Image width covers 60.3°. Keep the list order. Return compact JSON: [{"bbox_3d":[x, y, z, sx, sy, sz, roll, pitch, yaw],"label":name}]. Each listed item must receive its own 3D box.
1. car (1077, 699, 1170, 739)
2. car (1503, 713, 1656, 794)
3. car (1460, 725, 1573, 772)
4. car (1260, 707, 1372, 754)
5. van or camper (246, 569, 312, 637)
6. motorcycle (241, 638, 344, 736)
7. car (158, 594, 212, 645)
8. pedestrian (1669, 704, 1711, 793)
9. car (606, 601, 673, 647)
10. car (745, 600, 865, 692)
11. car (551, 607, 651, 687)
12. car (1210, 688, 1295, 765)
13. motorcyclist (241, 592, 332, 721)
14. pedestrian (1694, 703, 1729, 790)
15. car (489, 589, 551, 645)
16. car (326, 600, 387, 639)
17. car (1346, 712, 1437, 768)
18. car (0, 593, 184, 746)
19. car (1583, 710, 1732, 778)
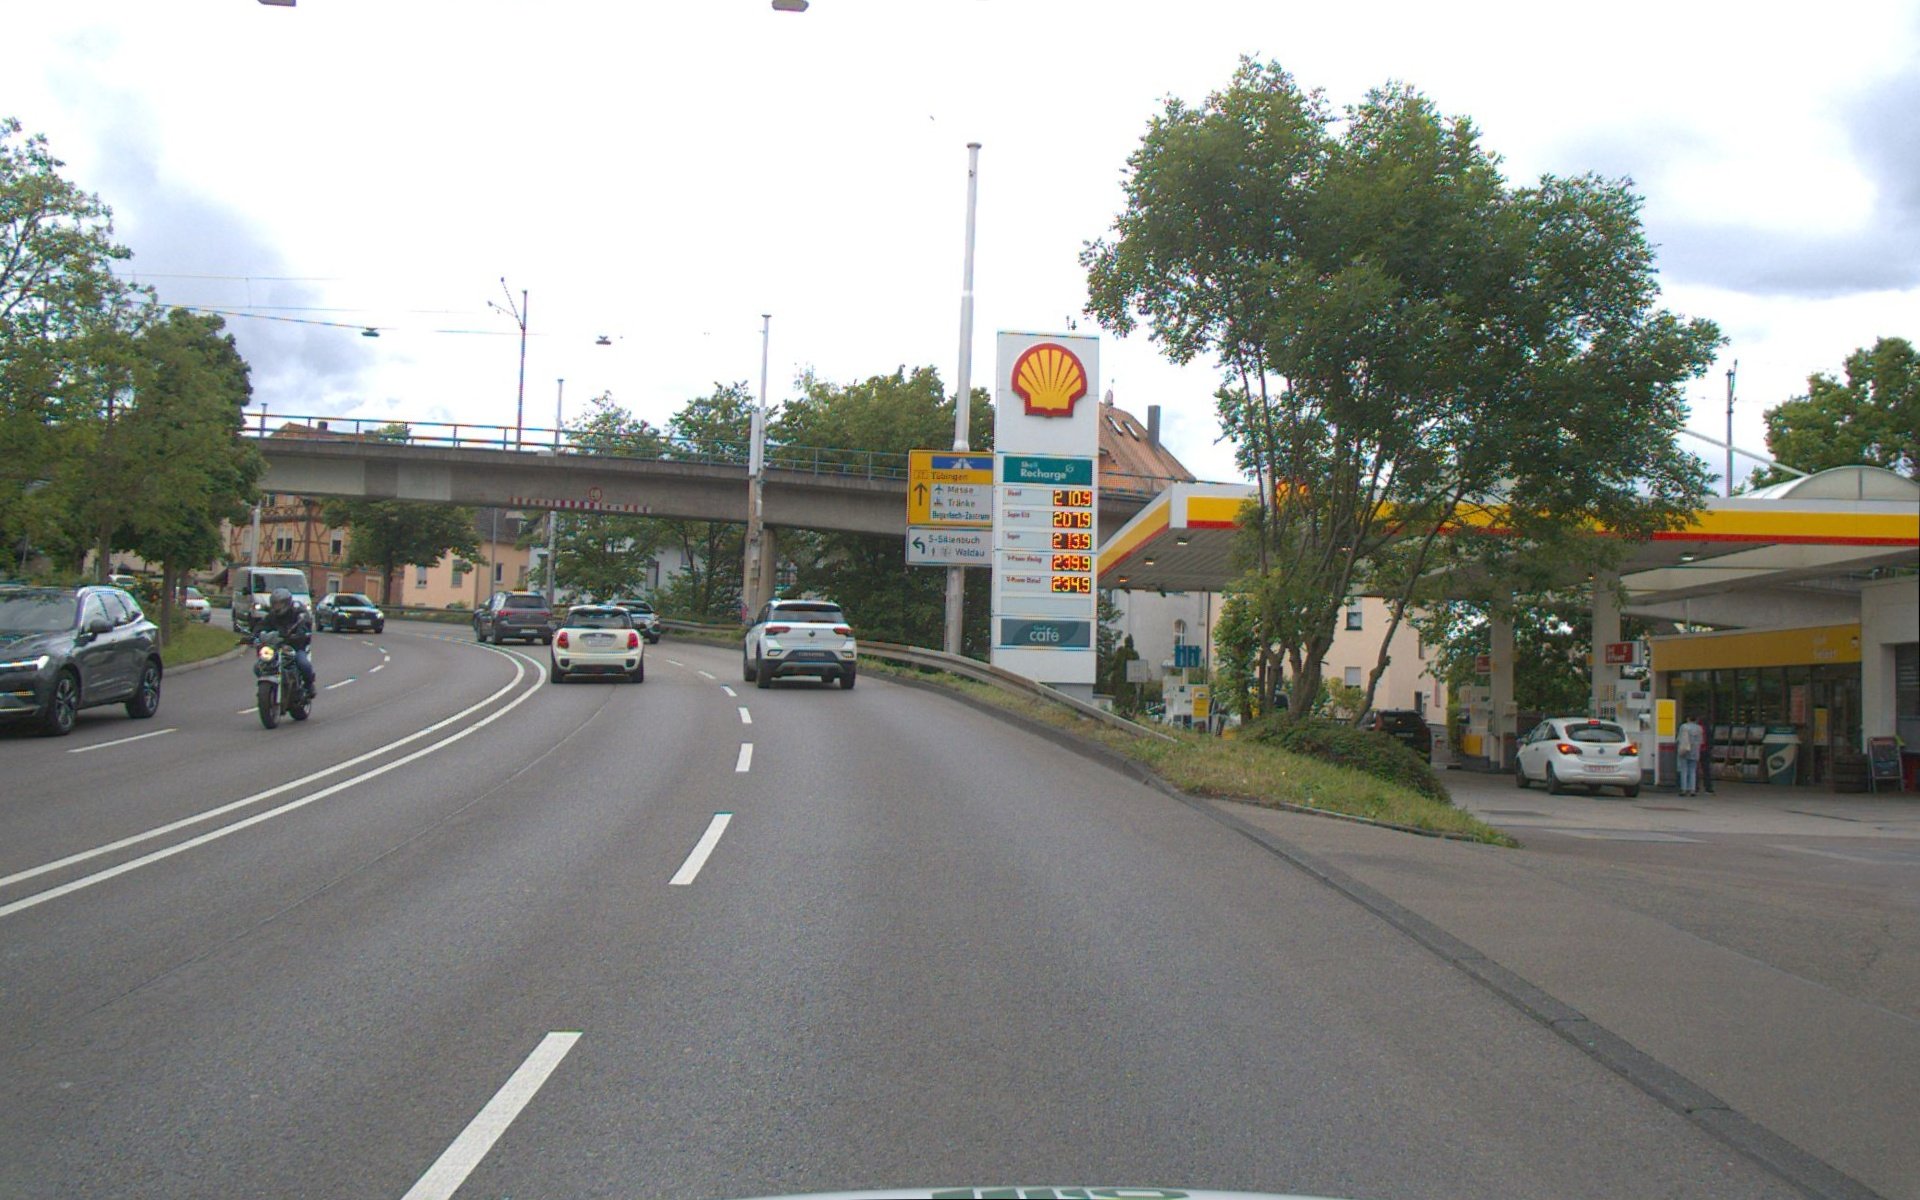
[{"bbox_3d":[7.267,5.290,73.421,3.689,1.419,1.647,3,-3,31],"label":"car"},{"bbox_3d":[12.409,3.052,33.376,1.699,1.512,3.877,1,-4,2],"label":"car"},{"bbox_3d":[18.704,4.979,55.677,3.540,1.484,1.658,-1,-4,18],"label":"car"},{"bbox_3d":[14.850,5.436,69.062,4.208,1.548,1.622,3,-3,28],"label":"car"},{"bbox_3d":[-24.392,0.099,59.152,1.982,2.301,5.916,1,0,-24],"label":"van or camper"},{"bbox_3d":[-8.114,1.028,20.187,0.474,1.075,2.266,-1,-1,-4],"label":"motorcycle"},{"bbox_3d":[-33.101,0.819,70.591,1.807,1.937,3.901,4,-1,-28],"label":"car"},{"bbox_3d":[14.627,2.973,33.152,0.532,1.734,0.609,2,-1,-6],"label":"pedestrian"},{"bbox_3d":[-10.812,0.797,55.685,1.651,1.433,3.435,2,-1,-21],"label":"car"},{"bbox_3d":[-2.911,0.806,30.422,1.765,1.545,3.446,2,-1,-12],"label":"car"},{"bbox_3d":[-6.776,0.859,31.489,1.691,1.400,3.448,2,-1,-10],"label":"car"},{"bbox_3d":[8.213,3.578,46.799,1.699,2.046,4.713,1,-4,2],"label":"car"},{"bbox_3d":[-8.179,0.675,20.119,0.745,1.511,0.959,-1,-1,-6],"label":"motorcyclist"},{"bbox_3d":[15.264,2.972,33.600,0.482,1.734,0.431,2,-1,-9],"label":"pedestrian"},{"bbox_3d":[-14.017,0.527,52.563,1.696,1.668,3.439,2,-1,-18],"label":"car"},{"bbox_3d":[-22.961,0.718,62.851,1.715,1.439,4.390,0,0,-27],"label":"car"},{"bbox_3d":[12.324,3.990,47.468,1.699,1.512,3.877,1,-4,2],"label":"car"},{"bbox_3d":[-10.765,0.738,19.418,1.752,1.603,4.459,0,0,-8],"label":"car"},{"bbox_3d":[21.122,4.365,50.178,3.783,1.973,1.741,0,-4,5],"label":"car"}]
